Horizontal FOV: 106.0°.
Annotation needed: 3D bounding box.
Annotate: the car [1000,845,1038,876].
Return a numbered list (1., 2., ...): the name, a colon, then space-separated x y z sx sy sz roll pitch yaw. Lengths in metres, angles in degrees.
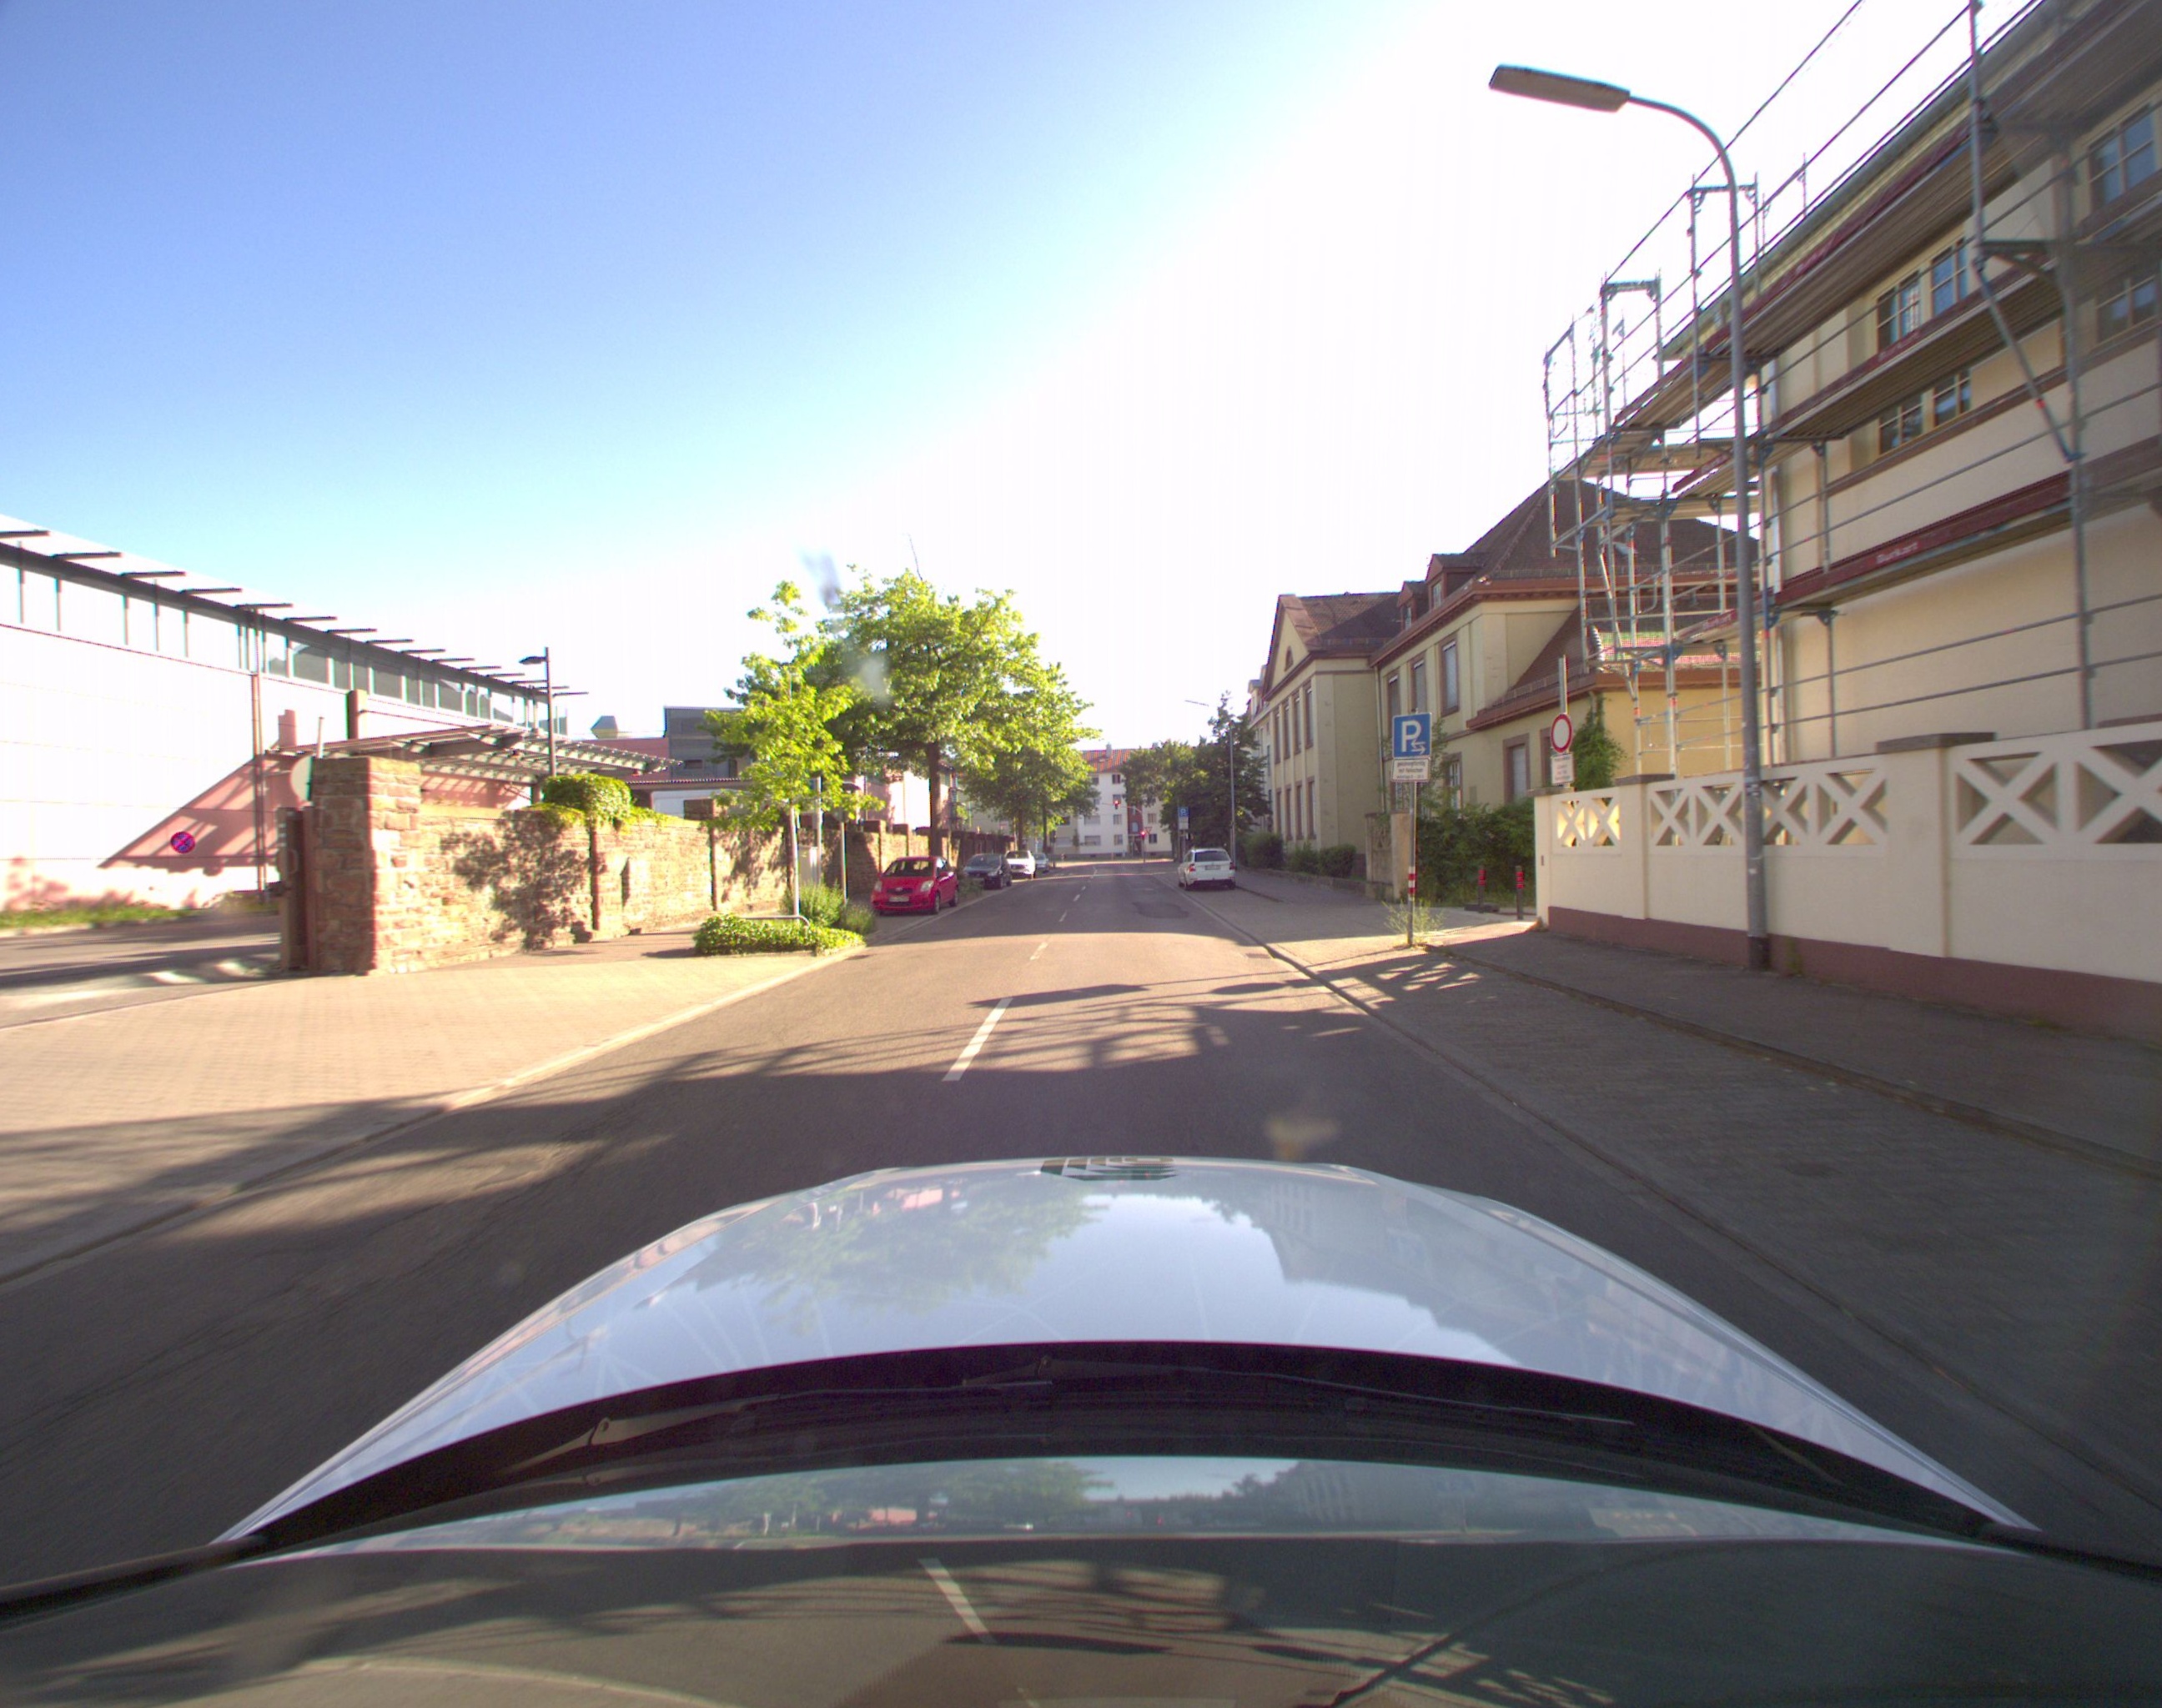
1. car: -3.459 0.331 46.283 1.714 1.683 4.351 -2 0 1

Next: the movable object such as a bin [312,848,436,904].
1. movable object such as a bin: -20.579 0.604 23.809 1.403 1.538 2.554 0 0 0

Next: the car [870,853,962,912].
1. car: -4.432 0.714 22.390 1.602 1.459 3.710 0 0 2

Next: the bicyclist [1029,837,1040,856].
1. bicyclist: -4.520 -0.734 79.472 0.793 1.757 0.605 -1 0 -39

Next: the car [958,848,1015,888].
1. car: -4.031 0.573 35.383 1.730 1.592 4.110 -1 1 3

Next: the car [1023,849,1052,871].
1. car: -3.095 0.410 58.369 1.720 1.475 4.480 0 0 2

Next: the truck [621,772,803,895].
1. truck: -12.403 -0.647 28.292 2.722 3.711 7.431 0 0 2

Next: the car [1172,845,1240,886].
1. car: 4.461 0.369 29.685 1.826 1.323 4.498 -2 0 1
